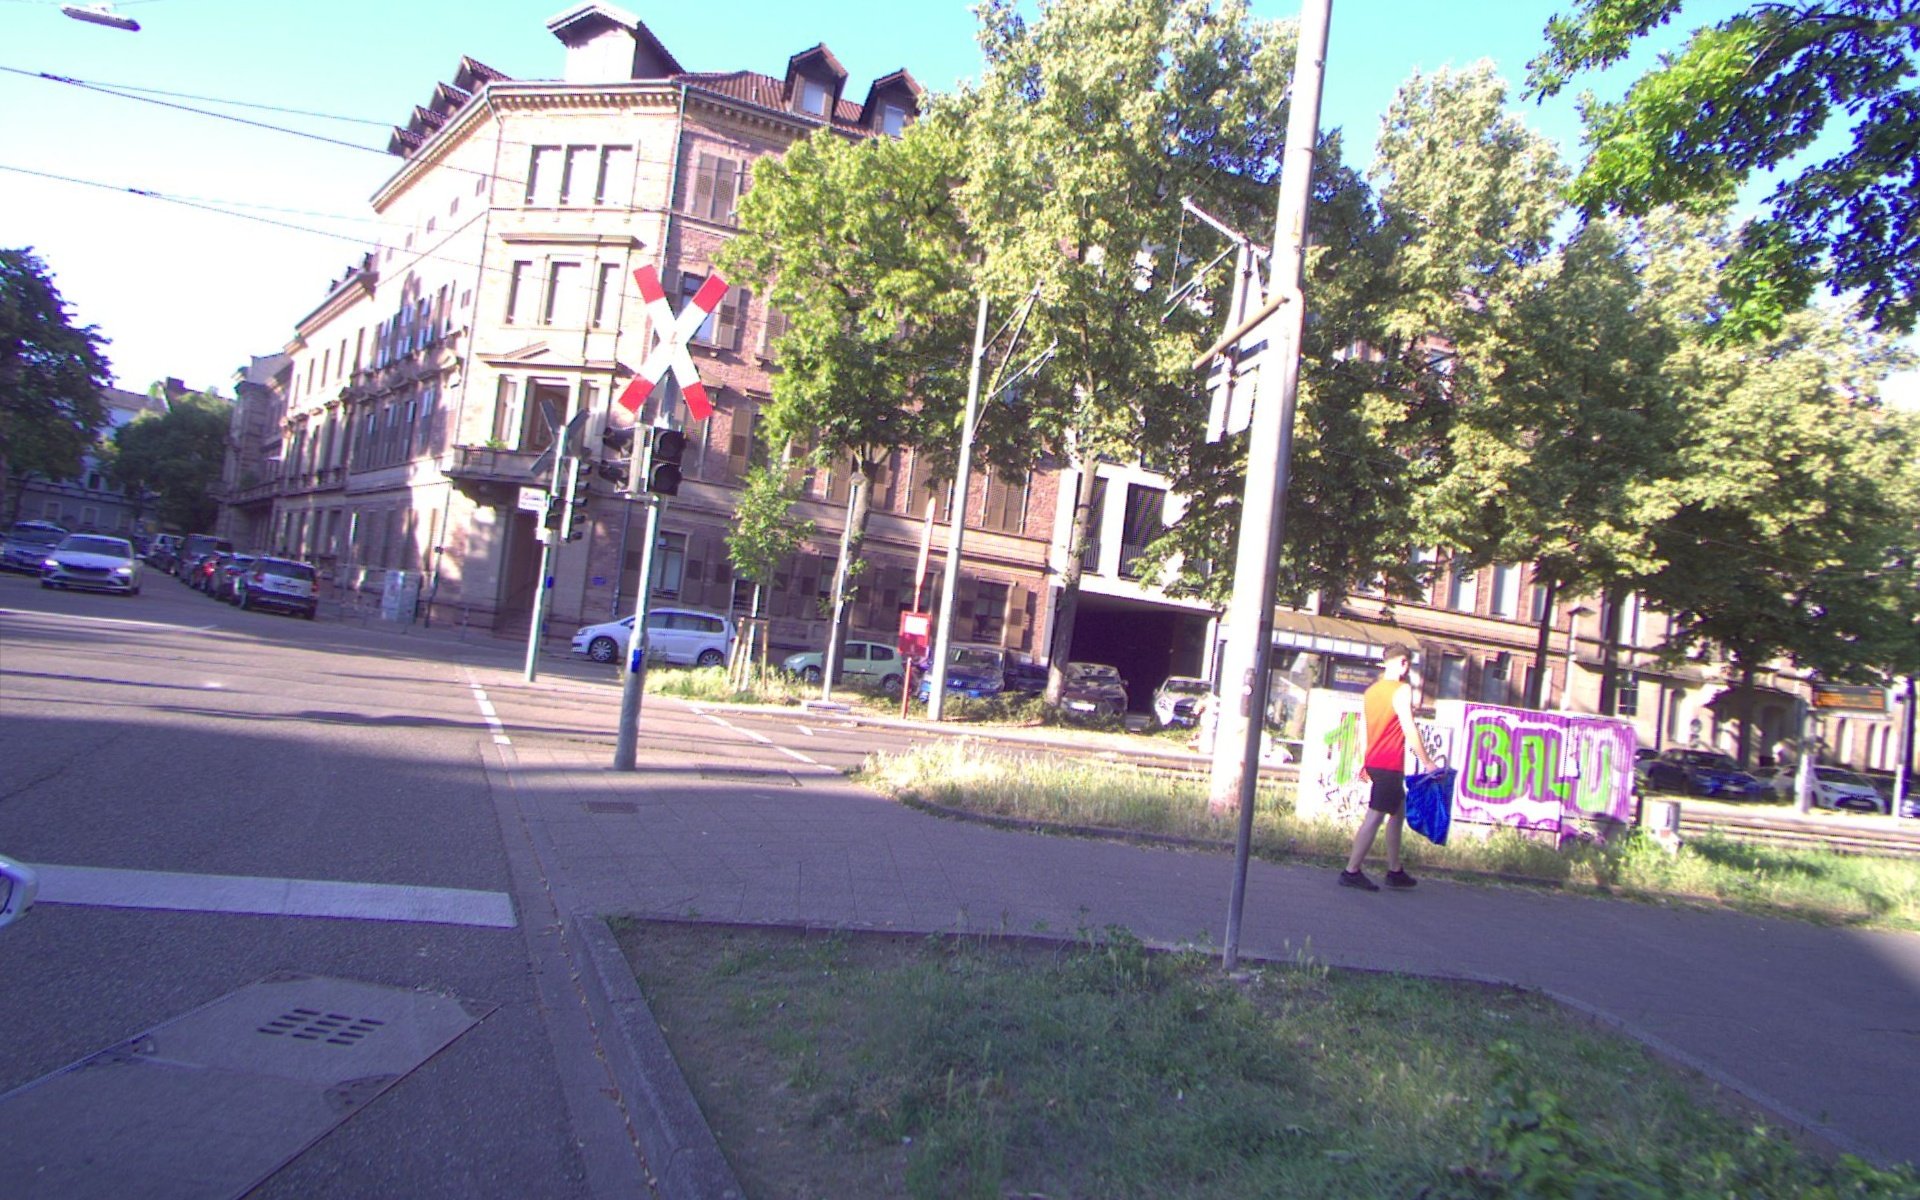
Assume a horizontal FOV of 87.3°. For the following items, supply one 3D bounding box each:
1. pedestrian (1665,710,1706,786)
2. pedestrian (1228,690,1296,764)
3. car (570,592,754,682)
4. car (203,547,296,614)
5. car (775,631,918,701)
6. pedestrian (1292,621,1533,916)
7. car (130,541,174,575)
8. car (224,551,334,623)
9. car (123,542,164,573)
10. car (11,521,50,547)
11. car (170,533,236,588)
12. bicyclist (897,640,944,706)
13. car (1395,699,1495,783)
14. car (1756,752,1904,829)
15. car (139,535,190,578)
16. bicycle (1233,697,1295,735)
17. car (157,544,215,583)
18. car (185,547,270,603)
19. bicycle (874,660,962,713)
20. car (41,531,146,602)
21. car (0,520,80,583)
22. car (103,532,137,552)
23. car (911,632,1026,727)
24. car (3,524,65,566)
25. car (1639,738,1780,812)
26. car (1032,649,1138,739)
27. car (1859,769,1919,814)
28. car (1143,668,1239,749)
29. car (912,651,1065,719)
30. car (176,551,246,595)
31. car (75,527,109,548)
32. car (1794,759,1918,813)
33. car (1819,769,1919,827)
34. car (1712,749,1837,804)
[{"bbox_3d":[30.047,6.111,41.668,0.690,2.981,0.917,8,-2,-20],"label":"pedestrian"},{"bbox_3d":[5.967,2.504,19.905,0.863,1.287,0.822,8,-2,-16],"label":"pedestrian"},{"bbox_3d":[-8.019,1.051,27.284,4.433,1.665,1.872,10,-6,-16],"label":"car"},{"bbox_3d":[-23.864,-0.687,33.729,1.823,1.740,4.491,14,-6,-41],"label":"car"},{"bbox_3d":[-3.272,1.914,28.871,3.671,1.504,1.738,9,-5,-18],"label":"car"},{"bbox_3d":[3.325,1.199,7.484,1.130,1.941,0.904,7,-1,-8],"label":"pedestrian"},{"bbox_3d":[-53.356,-2.780,66.389,1.795,1.857,3.909,13,-6,-42],"label":"car"},{"bbox_3d":[-20.395,-0.425,30.057,1.914,1.673,4.138,14,-7,-42],"label":"car"},{"bbox_3d":[-56.978,-2.987,70.210,1.795,1.745,3.909,13,-6,-42],"label":"car"},{"bbox_3d":[-68.595,-4.842,74.258,1.823,1.515,3.886,14,-6,-41],"label":"car"},{"bbox_3d":[-34.473,-1.832,45.776,1.795,2.093,3.909,13,-6,-42],"label":"car"},{"bbox_3d":[-1.057,1.931,26.677,0.863,1.605,0.698,9,-3,-21],"label":"bicyclist"},{"bbox_3d":[12.802,3.663,26.821,1.894,1.741,4.556,7,-2,22],"label":"car"},{"bbox_3d":[27.509,5.975,32.000,1.775,1.714,4.287,7,-2,16],"label":"car"},{"bbox_3d":[-45.899,-2.541,58.007,1.795,2.093,3.909,13,-6,-42],"label":"car"},{"bbox_3d":[11.397,4.361,37.814,2.056,1.129,0.684,7,-2,11],"label":"bicycle"},{"bbox_3d":[-38.314,-1.829,49.767,1.795,1.539,3.909,13,-6,-42],"label":"car"},{"bbox_3d":[-27.353,-0.957,37.535,1.796,1.630,3.906,13,-6,-44],"label":"car"},{"bbox_3d":[-1.115,2.290,26.659,2.096,1.065,0.698,10,-3,-21],"label":"bicycle"},{"bbox_3d":[-22.464,-0.893,26.212,1.695,1.473,4.021,9,-3,-38],"label":"car"},{"bbox_3d":[-30.806,-1.616,33.631,1.823,1.630,4.242,14,-6,-41],"label":"car"},{"bbox_3d":[-86.609,-5.973,103.701,3.948,1.701,1.993,3,-6,42],"label":"car"},{"bbox_3d":[0.311,1.821,22.663,1.709,1.705,4.430,7,-4,10],"label":"car"},{"bbox_3d":[-43.347,-2.571,47.158,1.823,1.515,3.886,14,-6,-41],"label":"car"},{"bbox_3d":[21.910,5.055,29.611,1.775,1.504,4.287,7,-2,16],"label":"car"},{"bbox_3d":[3.060,2.163,23.748,1.893,1.653,4.559,7,-2,13],"label":"car"},{"bbox_3d":[42.921,8.690,45.063,4.549,1.585,1.992,9,-2,-20],"label":"car"},{"bbox_3d":[5.571,2.537,24.401,1.893,1.504,4.559,7,-2,13],"label":"car"},{"bbox_3d":[0.838,2.534,30.036,4.102,1.504,1.739,8,-5,-16],"label":"car"},{"bbox_3d":[-30.812,-1.128,41.345,1.795,1.358,3.909,13,-6,-42],"label":"car"},{"bbox_3d":[-87.999,-6.297,101.971,3.948,1.701,1.993,3,-6,42],"label":"car"},{"bbox_3d":[38.557,8.001,43.296,4.549,1.585,1.992,9,-2,-20],"label":"car"},{"bbox_3d":[30.062,6.435,32.376,1.775,1.293,4.288,7,-2,13],"label":"car"},{"bbox_3d":[33.486,7.237,41.370,4.359,1.585,1.991,9,-2,-21],"label":"car"}]
